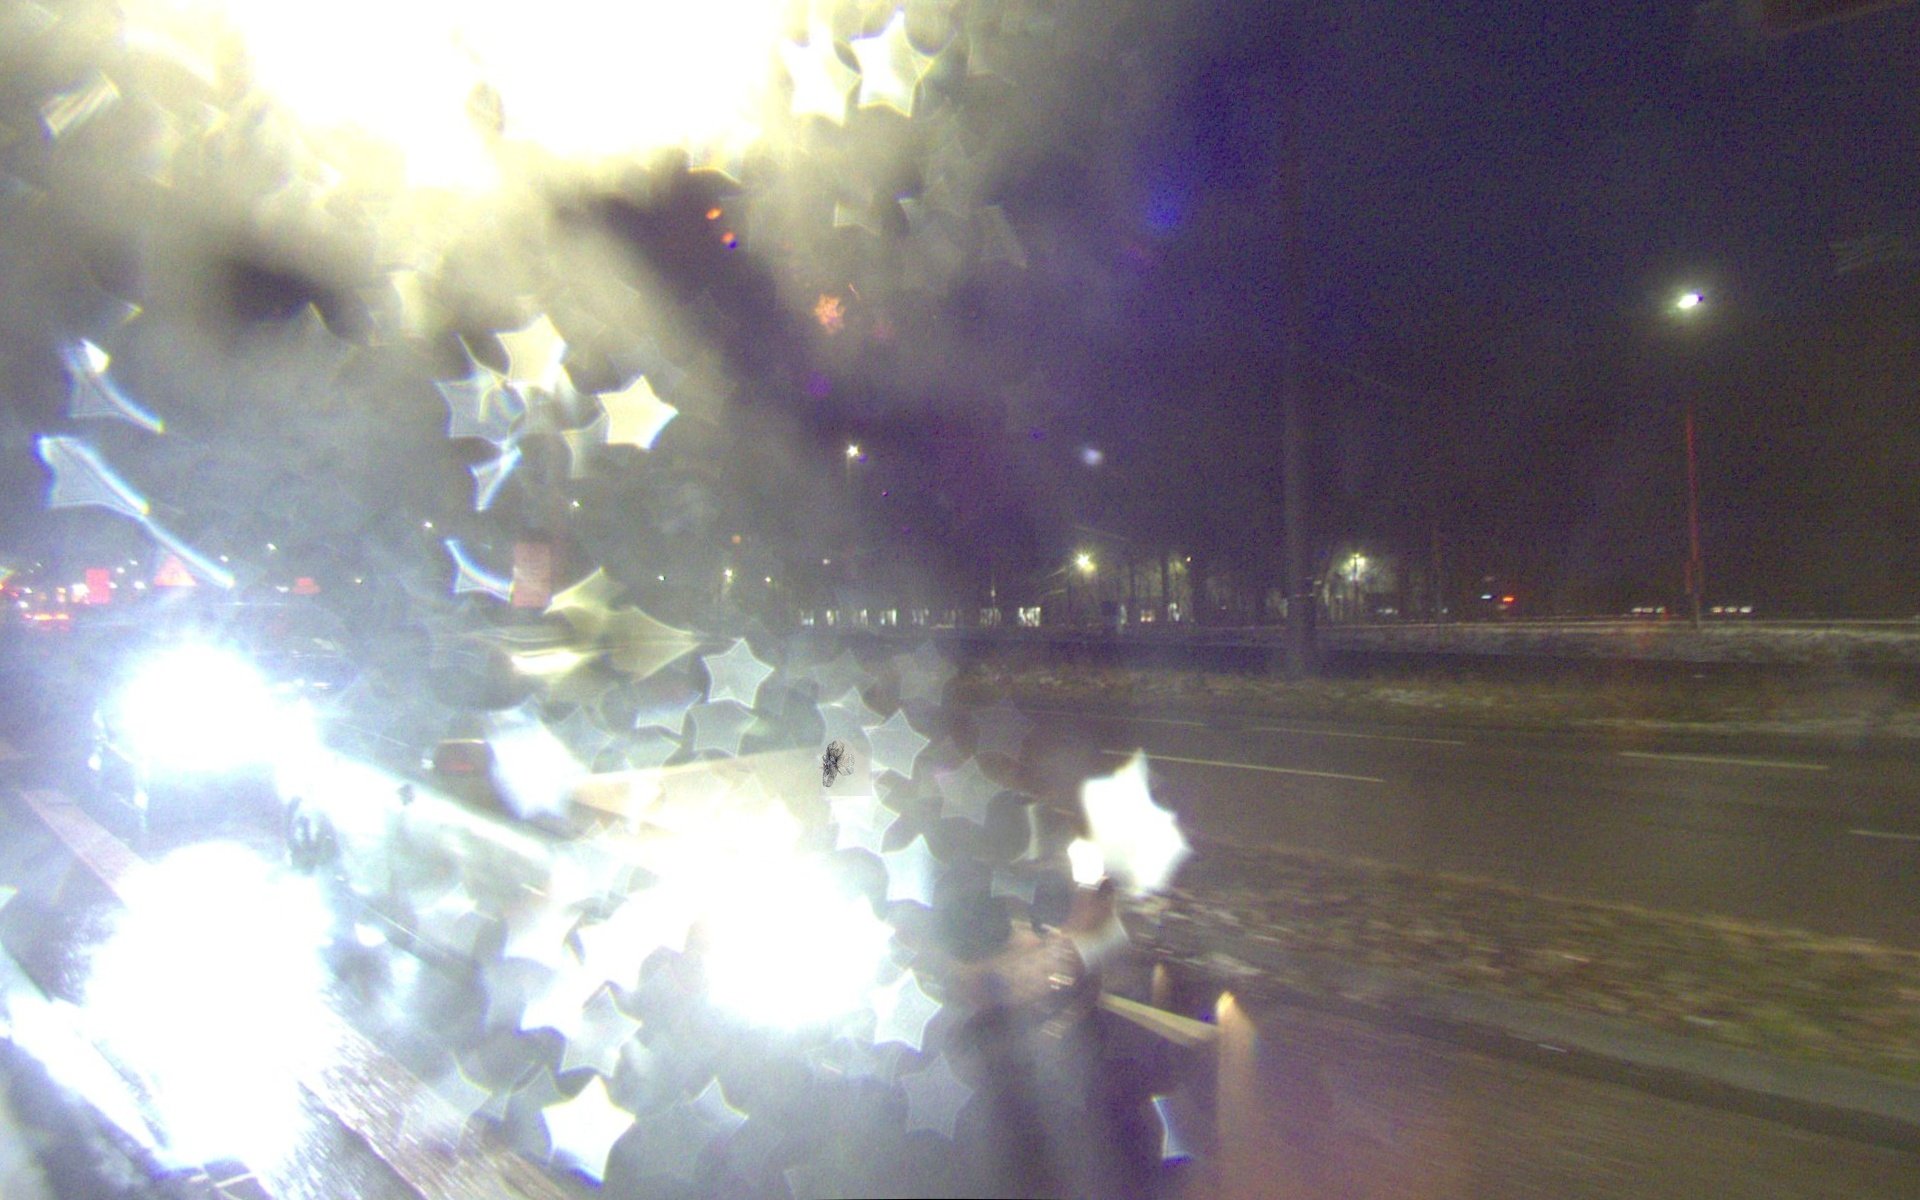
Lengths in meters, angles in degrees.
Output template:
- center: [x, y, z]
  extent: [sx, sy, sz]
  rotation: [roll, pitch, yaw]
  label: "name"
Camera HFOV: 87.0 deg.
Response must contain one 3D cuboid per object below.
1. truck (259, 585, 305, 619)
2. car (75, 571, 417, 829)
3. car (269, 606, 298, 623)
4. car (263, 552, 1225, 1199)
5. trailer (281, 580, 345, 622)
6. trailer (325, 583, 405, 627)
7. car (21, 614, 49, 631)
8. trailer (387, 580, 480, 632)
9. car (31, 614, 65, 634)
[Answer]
- center: [-99.422, 0.263, 148.350]
  extent: [3.401, 4.643, 10.219]
  rotation: [-6, 4, -45]
  label: "truck"
- center: [-6.676, 0.729, 9.237]
  extent: [4.437, 1.795, 1.764]
  rotation: [-1, -1, 44]
  label: "car"
- center: [-75.142, 1.620, 112.409]
  extent: [4.220, 1.706, 1.766]
  rotation: [-1, 1, 44]
  label: "car"
- center: [-1.322, 0.708, 4.286]
  extent: [4.436, 1.522, 1.764]
  rotation: [-1, -2, 43]
  label: "car"
- center: [-87.251, 0.063, 136.283]
  extent: [3.927, 5.049, 14.844]
  rotation: [-6, 4, -45]
  label: "trailer"
- center: [-69.199, 0.491, 117.389]
  extent: [3.927, 4.643, 15.524]
  rotation: [-6, 4, -45]
  label: "trailer"
- center: [-96.582, 2.327, 105.684]
  extent: [4.031, 1.600, 1.782]
  rotation: [0, 1, 43]
  label: "car"
- center: [-53.298, 0.486, 102.138]
  extent: [3.927, 4.643, 14.256]
  rotation: [-6, 4, -45]
  label: "trailer"
- center: [-82.425, 2.140, 91.459]
  extent: [4.651, 1.654, 1.742]
  rotation: [-1, 1, 42]
  label: "car"
